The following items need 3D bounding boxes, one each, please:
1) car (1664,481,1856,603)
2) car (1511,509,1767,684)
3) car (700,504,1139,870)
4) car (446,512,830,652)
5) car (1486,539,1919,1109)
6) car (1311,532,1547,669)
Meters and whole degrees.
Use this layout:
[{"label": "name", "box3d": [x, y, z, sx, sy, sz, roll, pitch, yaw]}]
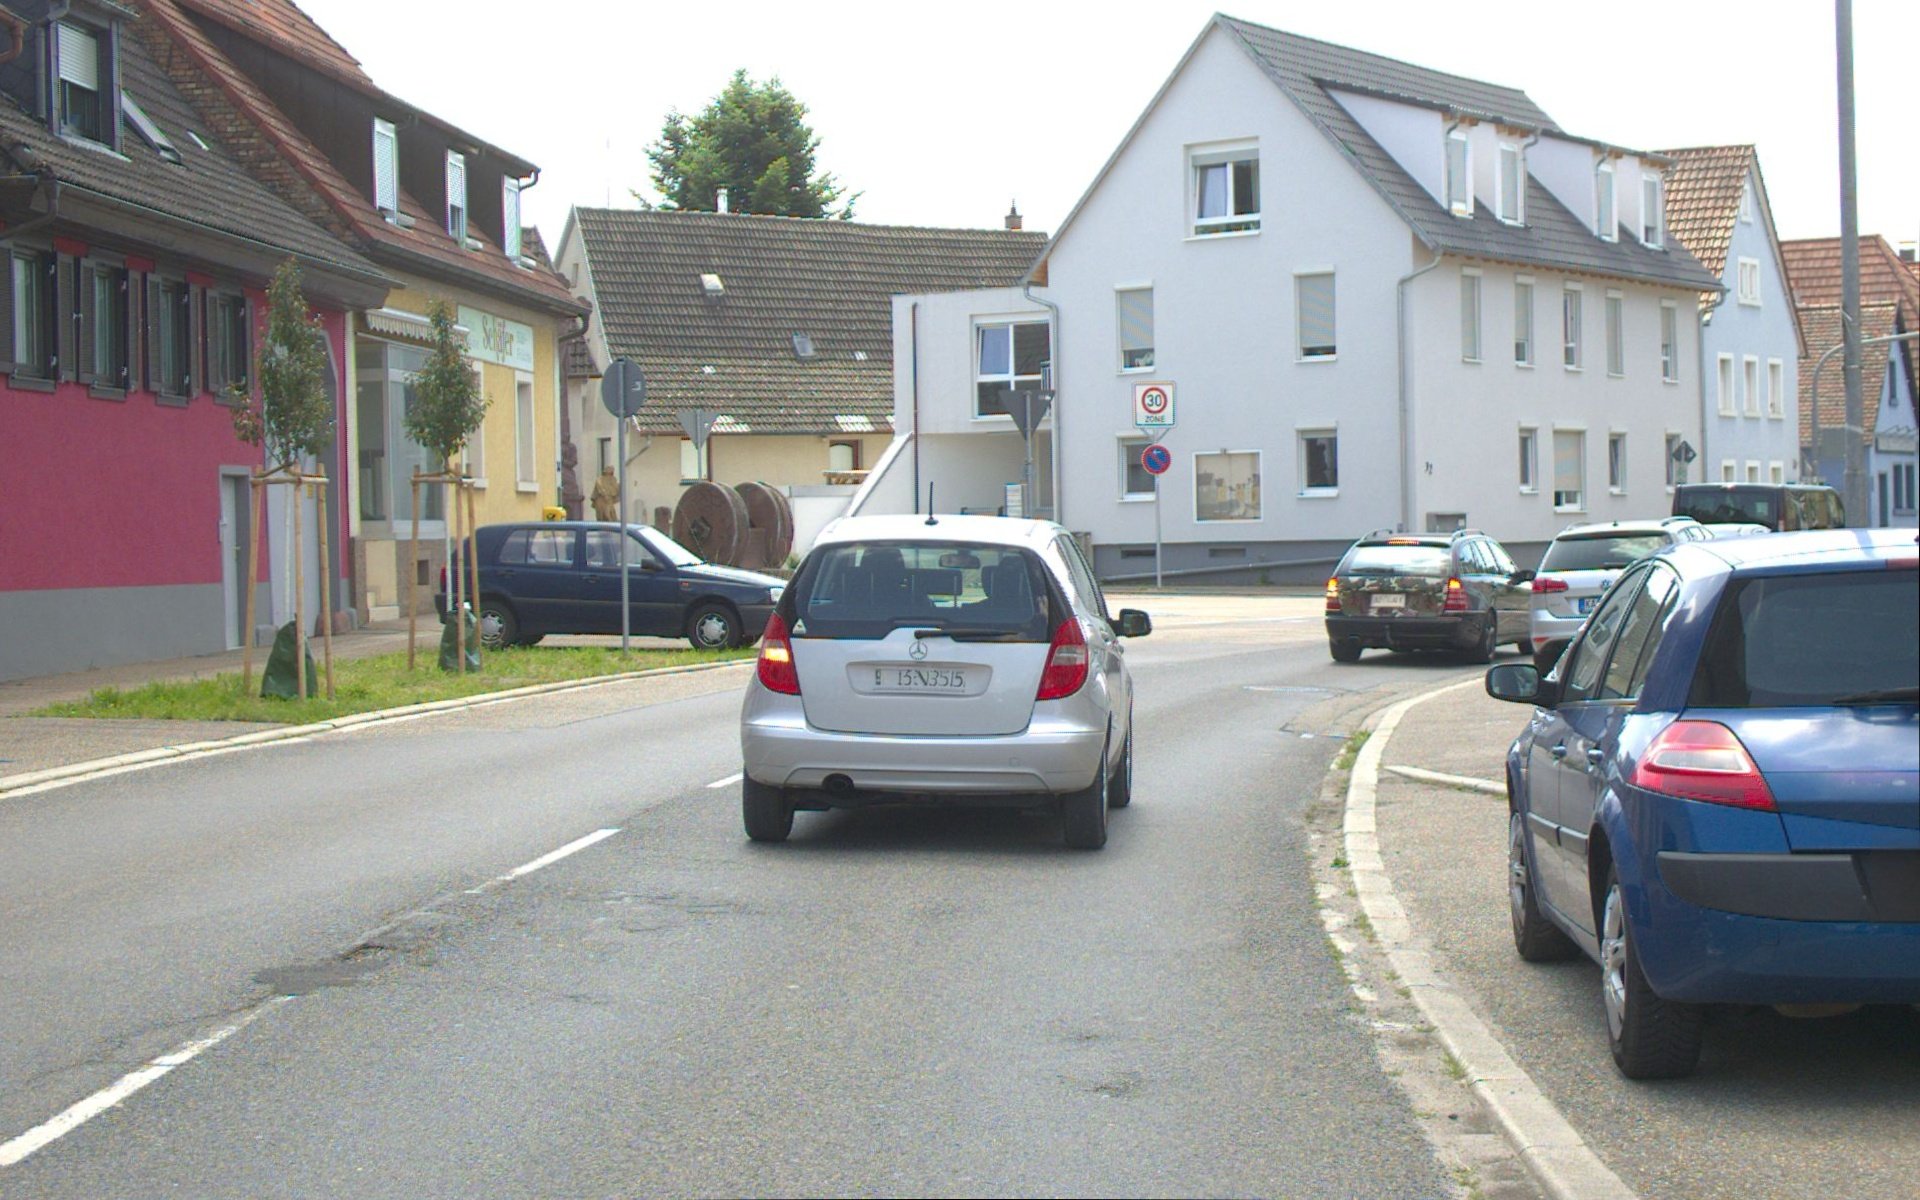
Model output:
[{"label": "car", "box3d": [12.547, -0.878, 53.763, 1.996, 1.809, 3.994, 1, 0, 27]}, {"label": "car", "box3d": [6.701, -0.066, 33.598, 1.886, 1.525, 4.332, -3, 0, 18]}, {"label": "car", "box3d": [-0.096, 0.345, 17.699, 1.811, 1.638, 3.728, 1, 2, 6]}, {"label": "car", "box3d": [-3.527, -0.214, 38.012, 3.968, 1.459, 1.721, 1, 1, 5]}, {"label": "car", "box3d": [2.632, 0.536, 10.340, 1.723, 1.381, 3.999, -1, 0, 4]}, {"label": "car", "box3d": [5.215, 0.002, 37.838, 1.752, 1.411, 3.996, 1, 0, 20]}]
